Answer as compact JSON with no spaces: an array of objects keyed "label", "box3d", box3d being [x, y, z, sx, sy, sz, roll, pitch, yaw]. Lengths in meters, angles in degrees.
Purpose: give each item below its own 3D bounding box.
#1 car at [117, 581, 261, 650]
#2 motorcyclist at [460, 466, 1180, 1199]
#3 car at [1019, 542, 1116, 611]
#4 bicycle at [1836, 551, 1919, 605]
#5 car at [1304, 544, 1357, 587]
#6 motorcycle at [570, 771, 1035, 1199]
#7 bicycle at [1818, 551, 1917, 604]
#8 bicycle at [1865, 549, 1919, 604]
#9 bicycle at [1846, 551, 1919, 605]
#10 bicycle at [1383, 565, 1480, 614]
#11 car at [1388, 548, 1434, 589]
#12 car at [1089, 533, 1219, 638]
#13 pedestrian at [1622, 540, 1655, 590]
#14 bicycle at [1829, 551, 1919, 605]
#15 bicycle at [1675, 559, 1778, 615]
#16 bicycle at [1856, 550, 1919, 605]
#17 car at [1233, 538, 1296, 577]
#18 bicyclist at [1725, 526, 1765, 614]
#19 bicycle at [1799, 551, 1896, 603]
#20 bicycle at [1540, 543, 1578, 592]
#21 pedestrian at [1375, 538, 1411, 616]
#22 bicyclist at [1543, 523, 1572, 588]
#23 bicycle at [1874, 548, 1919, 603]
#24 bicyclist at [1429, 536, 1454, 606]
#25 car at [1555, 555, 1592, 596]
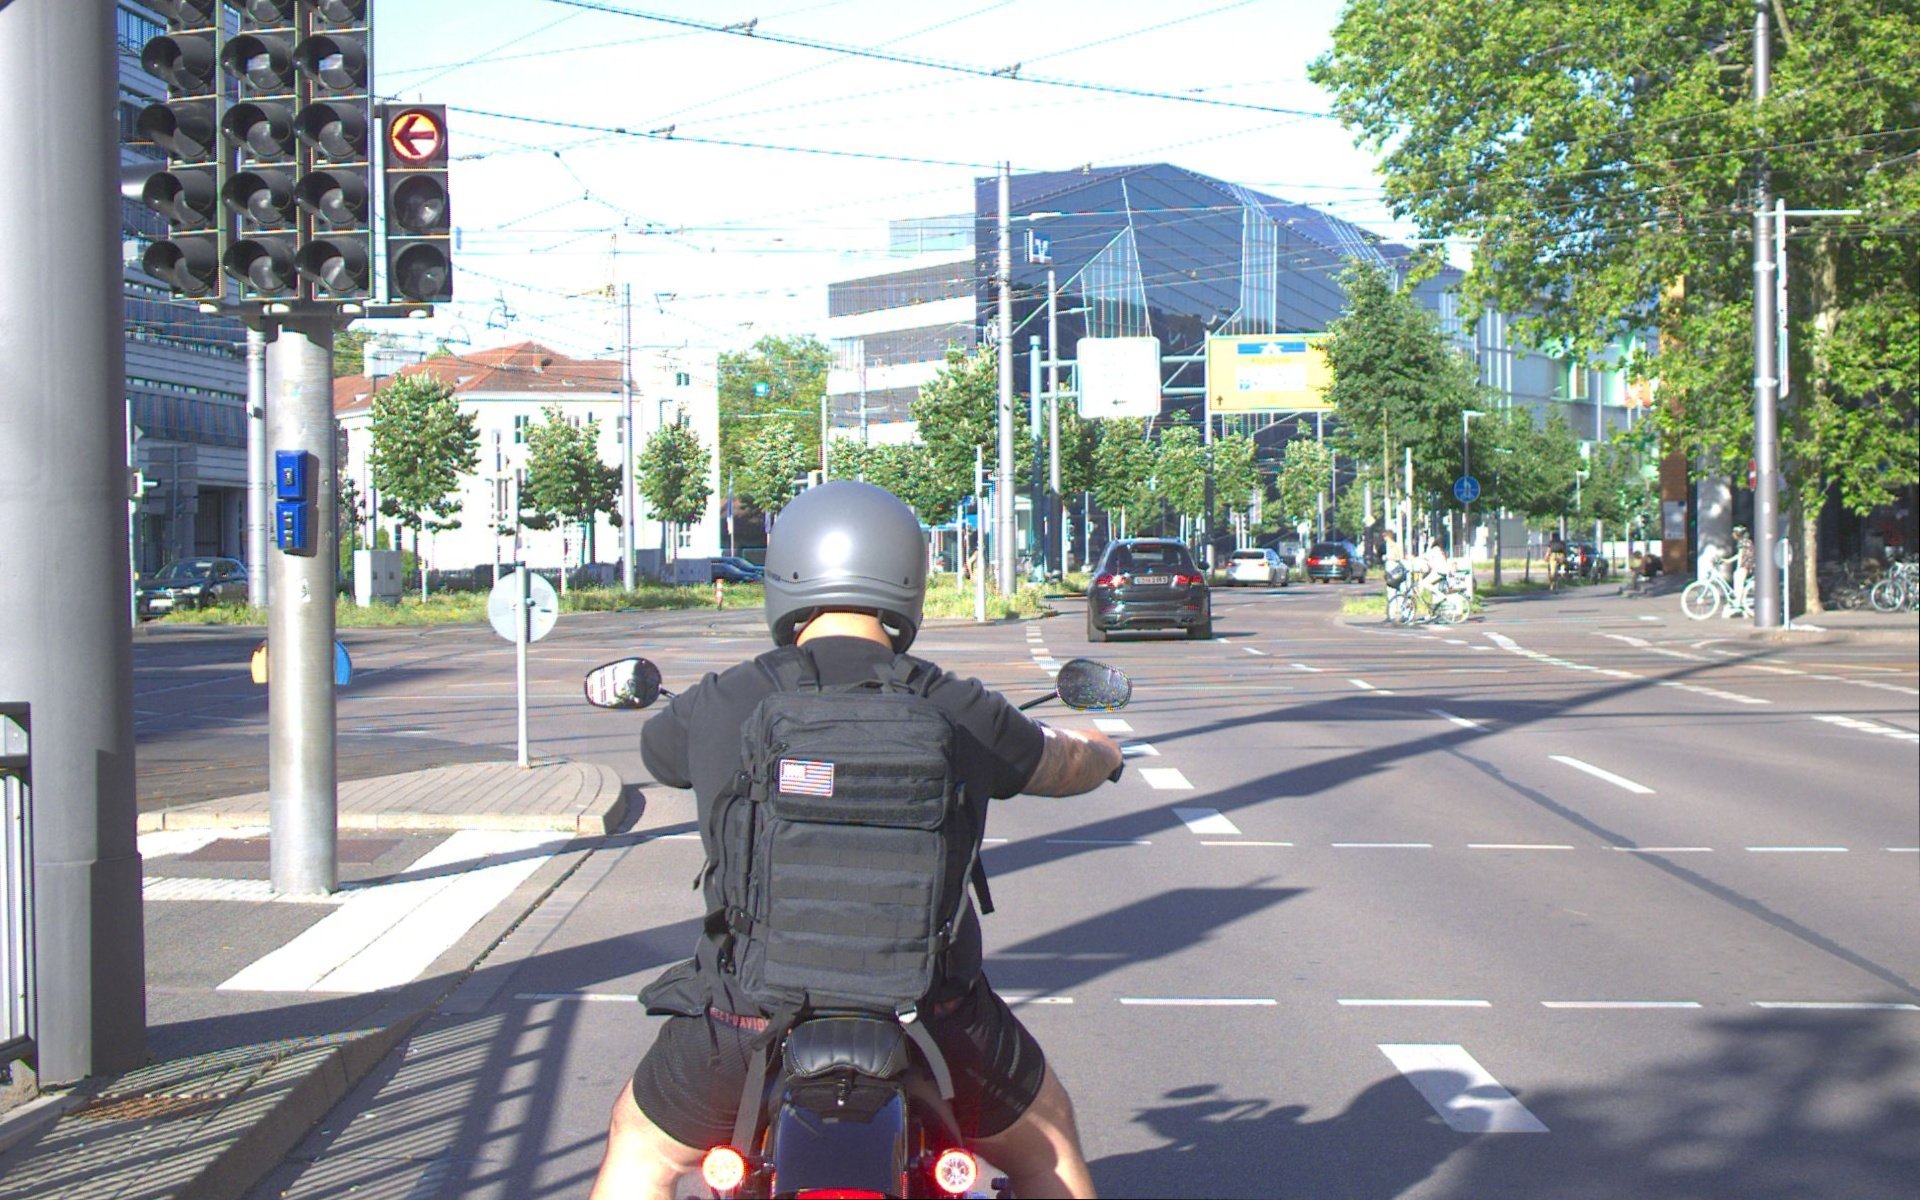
[{"label":"car","box3d":[-17.625,0.341,78.765,1.750,1.519,3.998,1,0,11]},{"label":"motorcyclist","box3d":[-0.204,0.596,5.394,1.030,1.588,0.873,0,1,-1]},{"label":"car","box3d":[2.332,-0.532,73.841,1.803,1.425,4.452,0,1,5]},{"label":"bicycle","box3d":[18.461,-0.432,68.521,1.880,1.043,0.360,1,0,-1]},{"label":"car","box3d":[15.329,-1.415,142.159,1.804,1.672,4.039,1,0,11]},{"label":"motorcycle","box3d":[-0.223,0.876,5.599,0.600,1.032,2.234,1,1,-1]},{"label":"bicycle","box3d":[18.351,-0.457,69.505,1.880,1.043,0.360,1,1,-1]},{"label":"bicycle","box3d":[18.510,-0.445,66.517,1.880,1.043,0.360,1,0,-1]},{"label":"bicycle","box3d":[18.483,-0.428,67.889,1.880,1.043,0.360,1,1,-1]},{"label":"bicycle","box3d":[9.198,-0.209,67.096,1.825,0.922,0.358,1,0,-8]},{"label":"car","box3d":[20.392,-1.414,155.377,1.730,1.831,3.573,1,0,12]},{"label":"car","box3d":[3.139,-0.262,54.933,1.804,1.590,4.452,0,1,7]},{"label":"pedestrian","box3d":[17.894,-0.912,90.689,0.819,1.309,0.637,1,0,9]},{"label":"bicycle","box3d":[18.437,-0.447,69.006,1.880,1.043,0.360,1,1,-1]},{"label":"bicycle","box3d":[14.548,-0.249,65.254,1.872,1.040,0.536,0,0,19]},{"label":"bicycle","box3d":[18.534,-0.436,67.332,1.880,1.043,0.360,1,0,-1]},{"label":"car","box3d":[11.409,-1.614,128.577,1.804,1.425,4.451,0,1,12]},{"label":"bicyclist","box3d":[14.870,-0.565,65.149,0.688,1.667,0.540,0,0,19]},{"label":"bicycle","box3d":[18.243,-0.474,70.655,1.880,1.043,0.360,1,1,-1]},{"label":"bicycle","box3d":[16.906,-0.907,97.094,0.726,1.362,2.917,1,0,3]},{"label":"pedestrian","box3d":[8.649,-0.463,68.712,0.587,1.551,0.489,1,0,-8]},{"label":"bicyclist","box3d":[16.880,-1.249,97.105,0.697,1.802,0.728,1,0,4]},{"label":"bicycle","box3d":[18.463,-0.454,65.734,1.880,1.043,0.360,1,0,-1]},{"label":"bicyclist","box3d":[9.393,-0.565,67.117,0.380,1.368,0.345,1,0,-9]},{"label":"car","box3d":[28.219,-1.102,158.003,1.531,1.831,3.573,1,0,12]}]
